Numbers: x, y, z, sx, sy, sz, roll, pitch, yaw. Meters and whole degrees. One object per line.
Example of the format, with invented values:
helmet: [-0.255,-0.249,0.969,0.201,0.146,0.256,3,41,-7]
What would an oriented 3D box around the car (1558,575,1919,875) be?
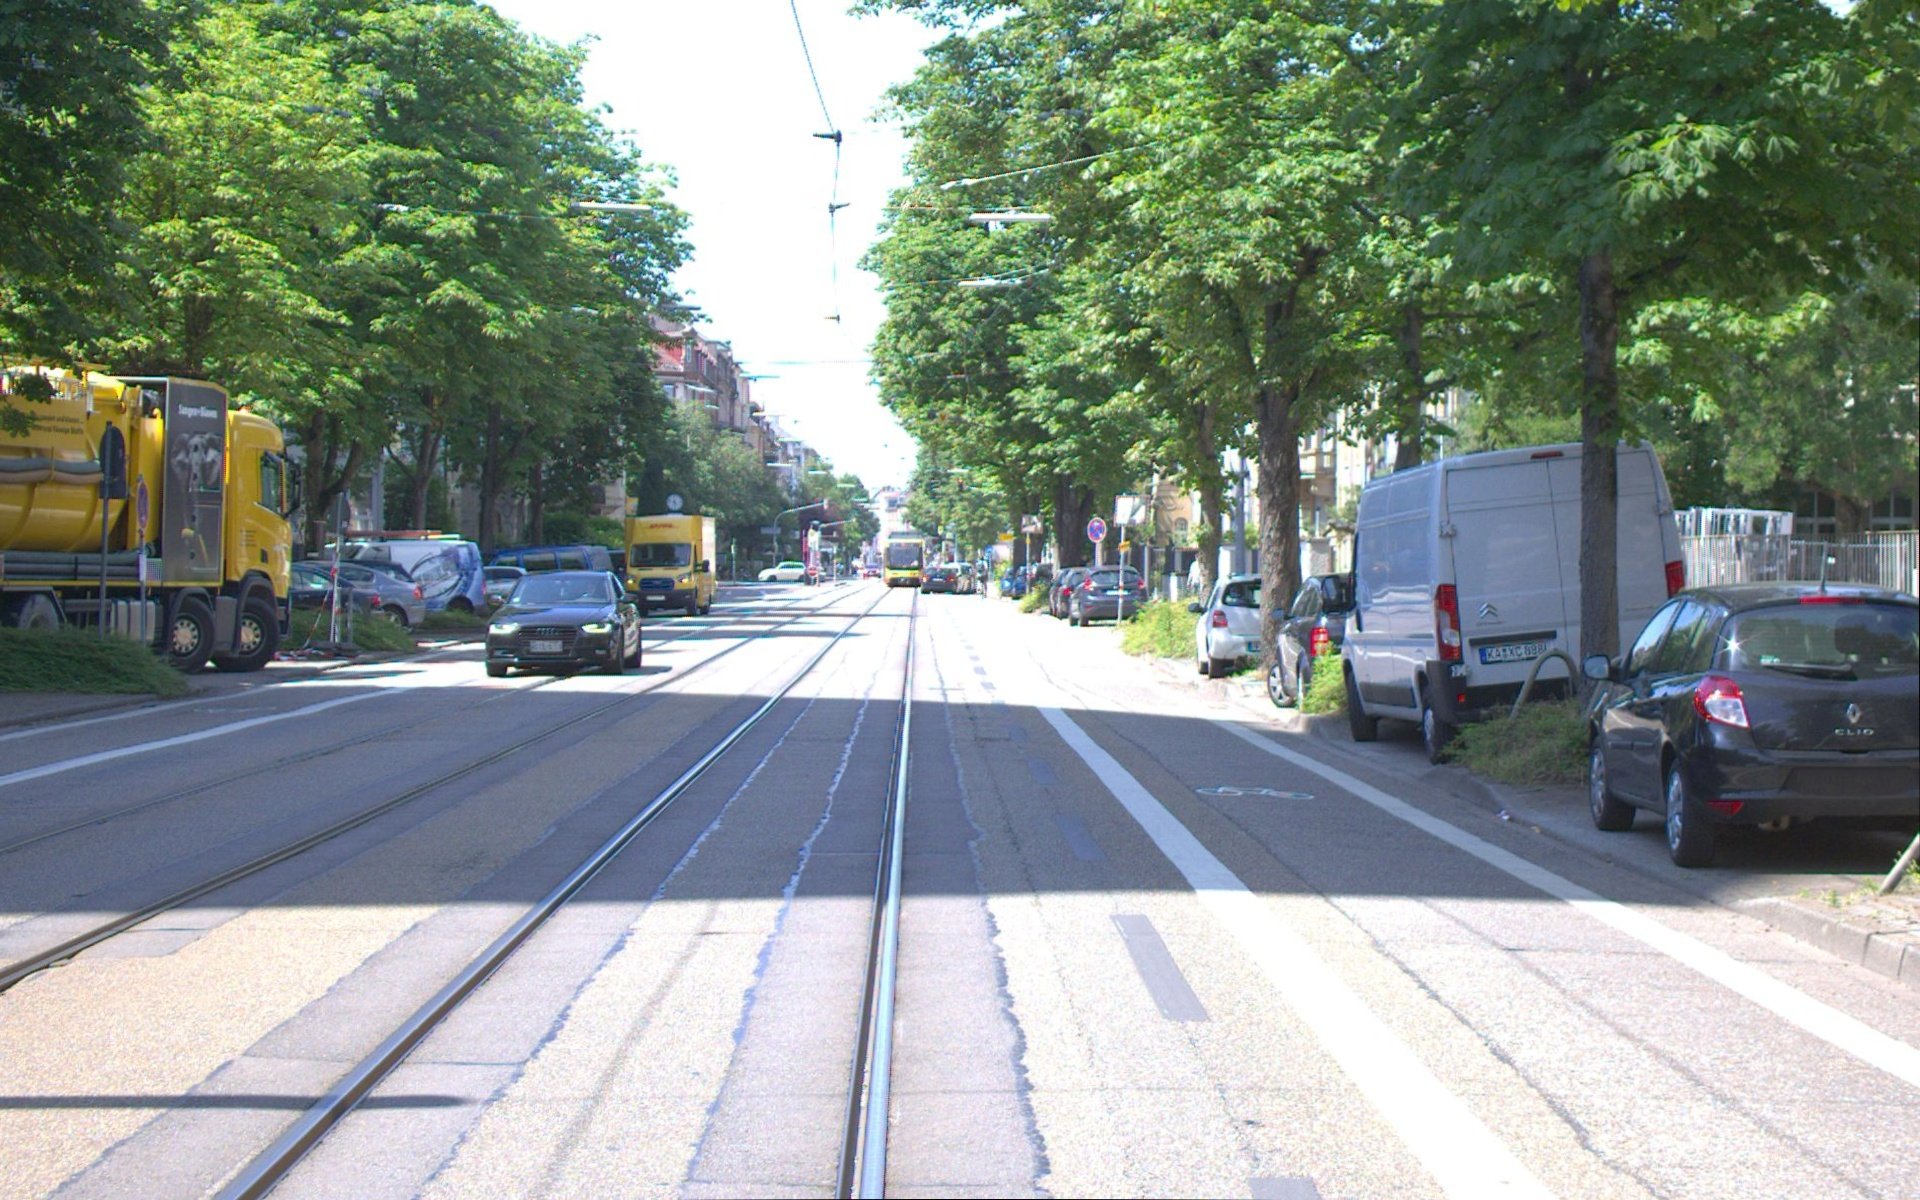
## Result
car: [4.644,0.620,19.597,1.824,1.466,4.400,0,1,2]

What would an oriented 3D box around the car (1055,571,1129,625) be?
car: [3.666,-0.061,96.016,1.876,1.450,4.528,0,0,0]

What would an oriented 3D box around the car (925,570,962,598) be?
car: [-0.807,-0.796,169.857,1.781,1.341,3.416,0,1,0]

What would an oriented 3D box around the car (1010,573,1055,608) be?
car: [3.017,-0.388,143.782,1.710,1.418,4.310,0,0,-1]

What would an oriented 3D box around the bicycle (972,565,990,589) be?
bicycle: [0.885,-0.963,145.449,0.639,0.966,1.781,2,-1,-2]

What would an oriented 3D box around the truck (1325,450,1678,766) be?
truck: [4.585,0.014,30.083,2.014,2.480,5.956,0,1,-1]

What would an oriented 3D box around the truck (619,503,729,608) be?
truck: [-8.069,-1.281,97.583,2.360,2.843,7.378,-1,1,1]

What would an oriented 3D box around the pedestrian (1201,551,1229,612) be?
pedestrian: [7.250,-0.524,97.697,0.619,1.731,0.477,-1,0,25]

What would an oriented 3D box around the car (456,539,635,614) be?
car: [-11.895,-0.687,98.839,4.748,2.055,2.026,-2,1,-39]

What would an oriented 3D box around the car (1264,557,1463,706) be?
car: [4.375,0.302,37.797,1.644,1.529,3.947,0,1,-1]

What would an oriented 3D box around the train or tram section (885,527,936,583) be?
train or tram section: [-3.106,-2.840,218.792,3.035,3.427,11.970,0,1,0]

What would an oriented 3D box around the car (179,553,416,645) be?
car: [-11.442,-0.033,59.523,1.761,1.502,3.700,0,1,42]

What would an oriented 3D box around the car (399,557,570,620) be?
car: [-11.885,-0.297,86.091,1.761,1.428,3.990,-2,0,42]

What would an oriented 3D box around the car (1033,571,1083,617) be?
car: [3.536,-0.223,124.555,1.592,1.611,3.908,0,0,-1]

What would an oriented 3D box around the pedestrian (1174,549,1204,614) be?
pedestrian: [6.552,-0.536,98.250,0.724,1.853,0.576,0,0,18]

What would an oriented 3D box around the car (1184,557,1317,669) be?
car: [4.172,0.161,49.834,1.644,1.529,3.785,0,1,1]

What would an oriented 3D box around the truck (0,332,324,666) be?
truck: [-11.555,-1.185,43.050,2.717,3.828,10.957,2,0,14]

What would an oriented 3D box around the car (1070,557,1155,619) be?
car: [3.678,-0.291,83.428,1.639,1.480,3.873,0,0,-4]

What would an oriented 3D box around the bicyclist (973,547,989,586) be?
bicyclist: [0.883,-1.399,145.427,0.622,1.610,0.865,2,-1,-2]

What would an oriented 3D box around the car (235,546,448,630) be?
car: [-11.842,-0.240,65.972,1.691,1.538,3.700,0,1,44]

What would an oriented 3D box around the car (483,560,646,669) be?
car: [-5.360,0.167,47.027,1.774,1.392,4.287,0,1,-1]

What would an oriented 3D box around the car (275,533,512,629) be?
car: [-11.937,-0.416,72.703,1.920,1.928,4.745,-1,0,42]

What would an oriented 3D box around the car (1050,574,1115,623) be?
car: [3.633,-0.056,102.548,1.710,1.418,4.244,0,0,-1]

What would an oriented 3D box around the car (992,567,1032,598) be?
car: [2.431,-0.830,162.125,1.710,1.418,4.310,0,0,-1]

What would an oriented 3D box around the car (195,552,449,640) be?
car: [-11.639,-0.088,62.869,4.192,1.502,1.873,-1,1,-41]
